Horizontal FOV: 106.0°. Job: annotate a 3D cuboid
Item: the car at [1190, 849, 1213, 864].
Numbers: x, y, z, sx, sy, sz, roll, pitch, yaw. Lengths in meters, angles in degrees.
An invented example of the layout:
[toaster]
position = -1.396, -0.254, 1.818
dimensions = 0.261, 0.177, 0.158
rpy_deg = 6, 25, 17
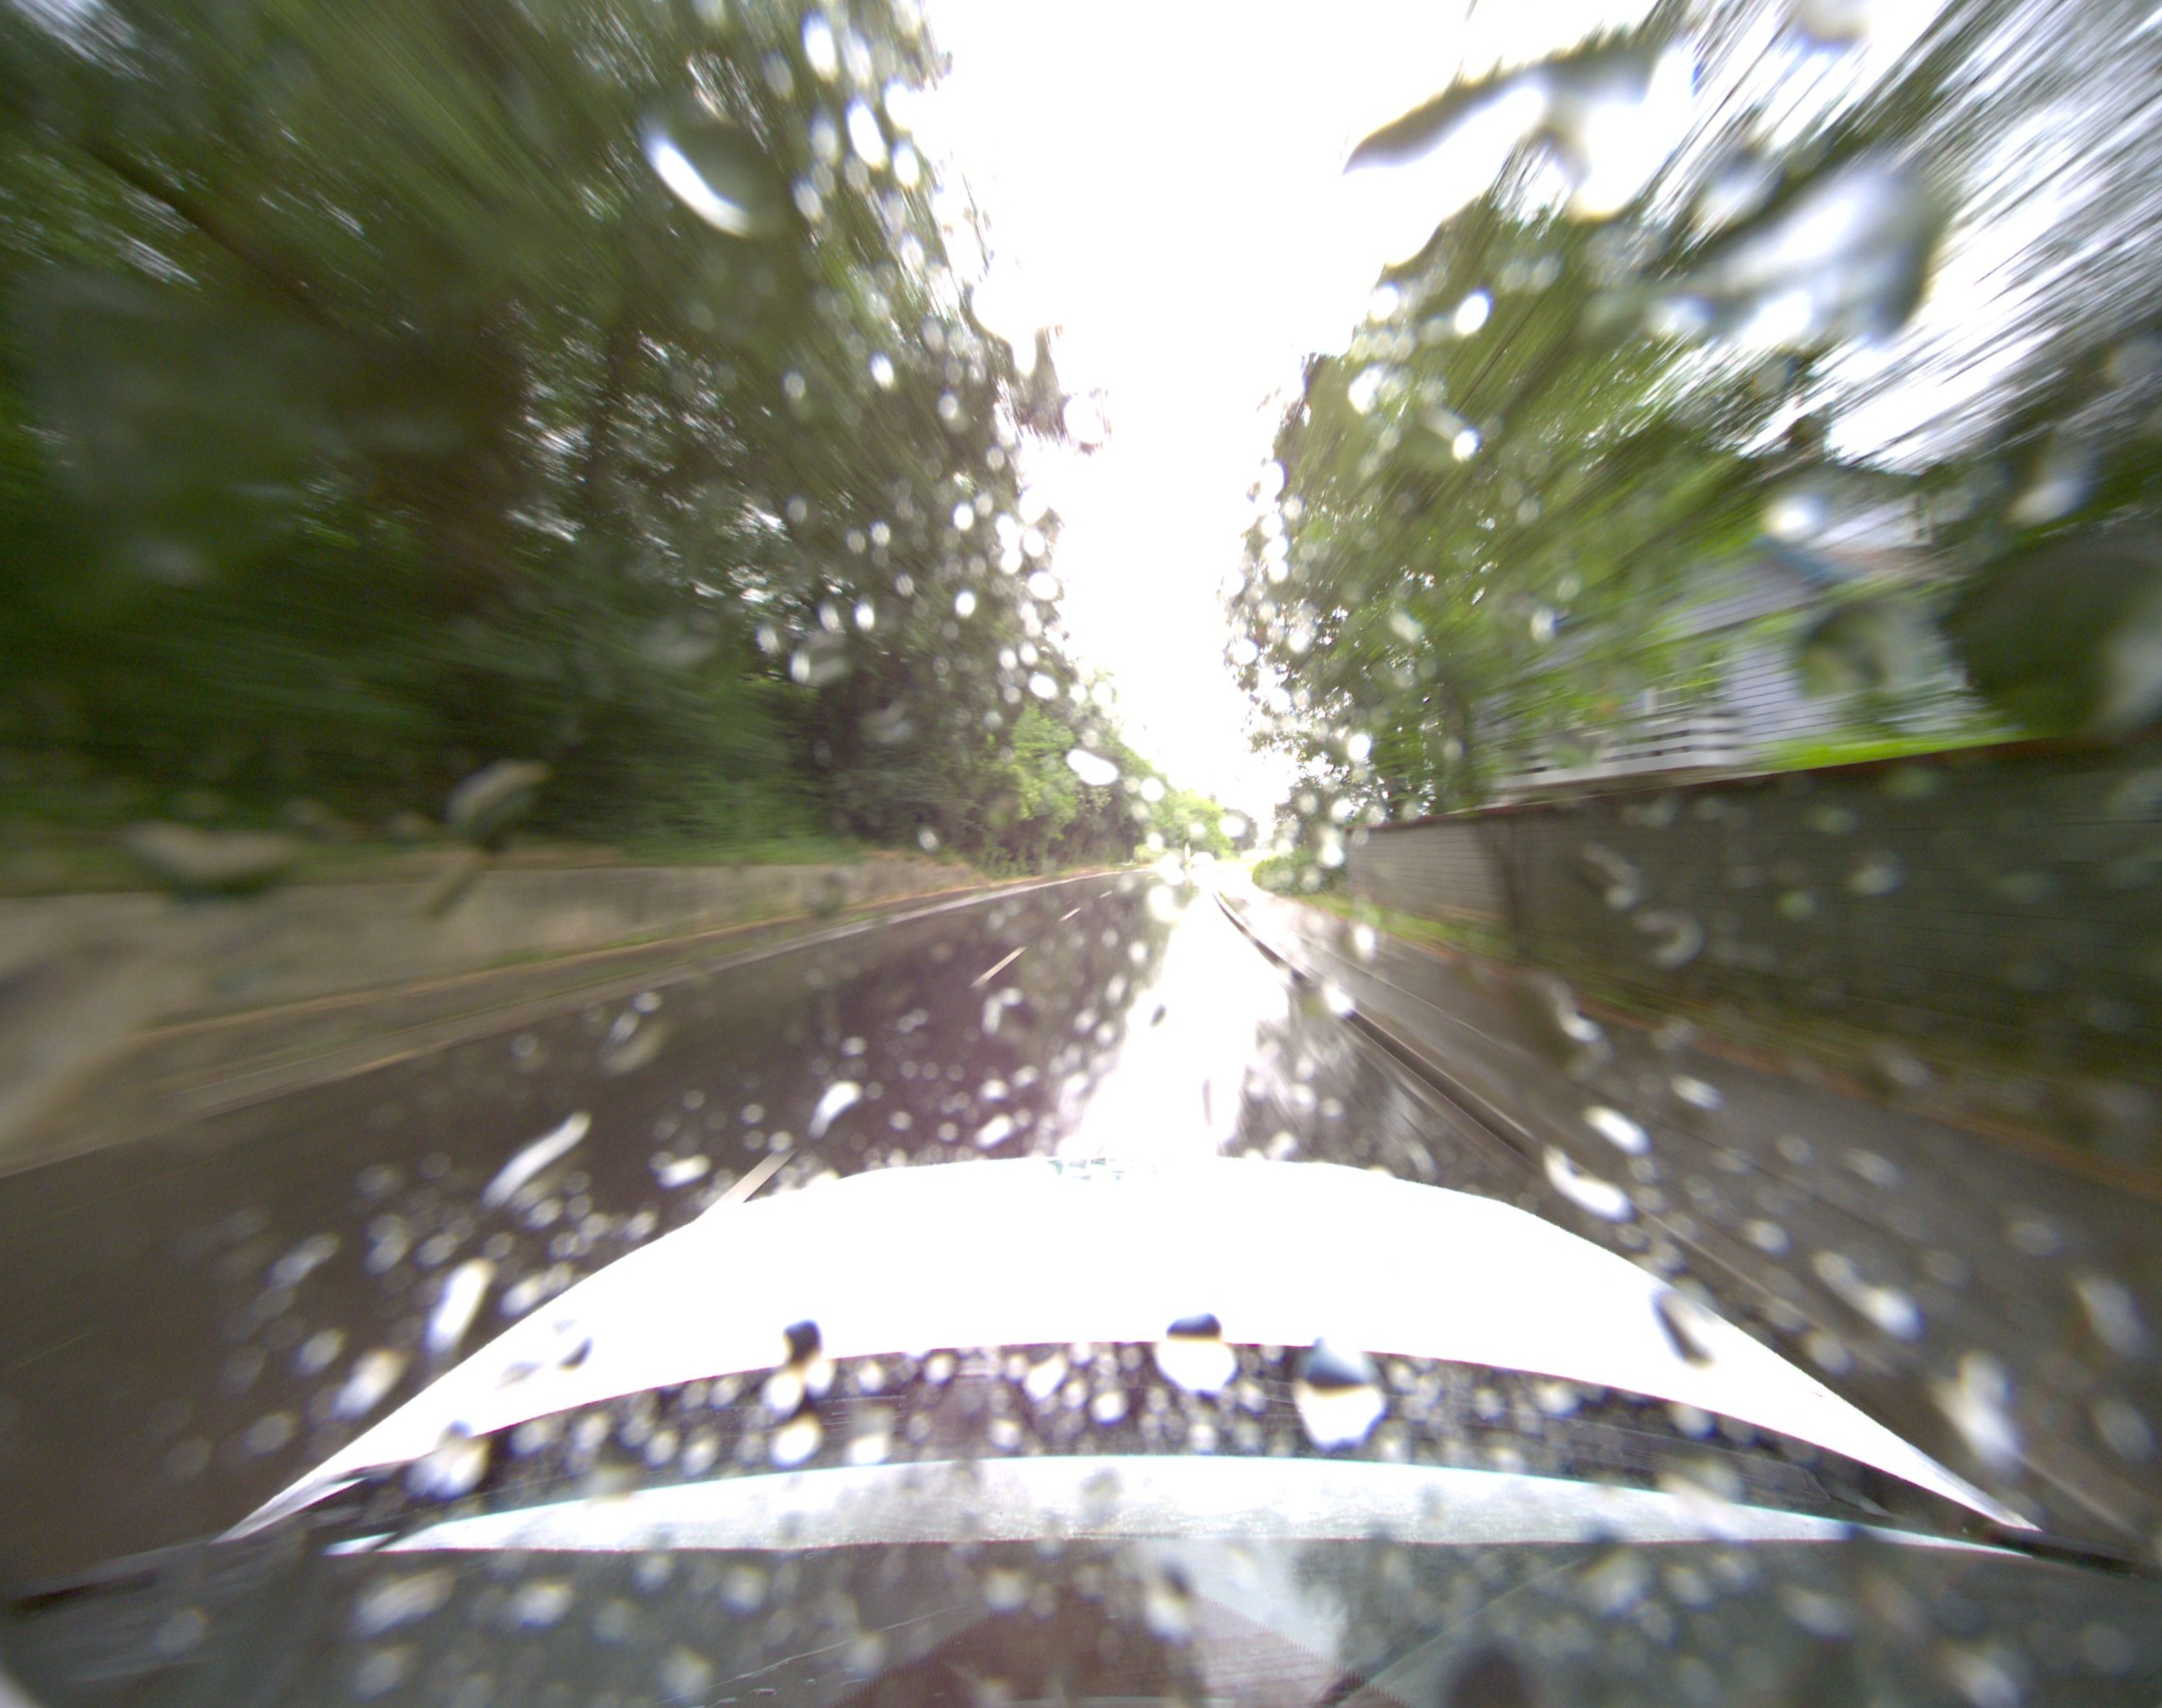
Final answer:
[car]
position = 12.393, 0.201, 83.603
dimensions = 1.773, 1.419, 4.653
rpy_deg = -1, 1, 15
